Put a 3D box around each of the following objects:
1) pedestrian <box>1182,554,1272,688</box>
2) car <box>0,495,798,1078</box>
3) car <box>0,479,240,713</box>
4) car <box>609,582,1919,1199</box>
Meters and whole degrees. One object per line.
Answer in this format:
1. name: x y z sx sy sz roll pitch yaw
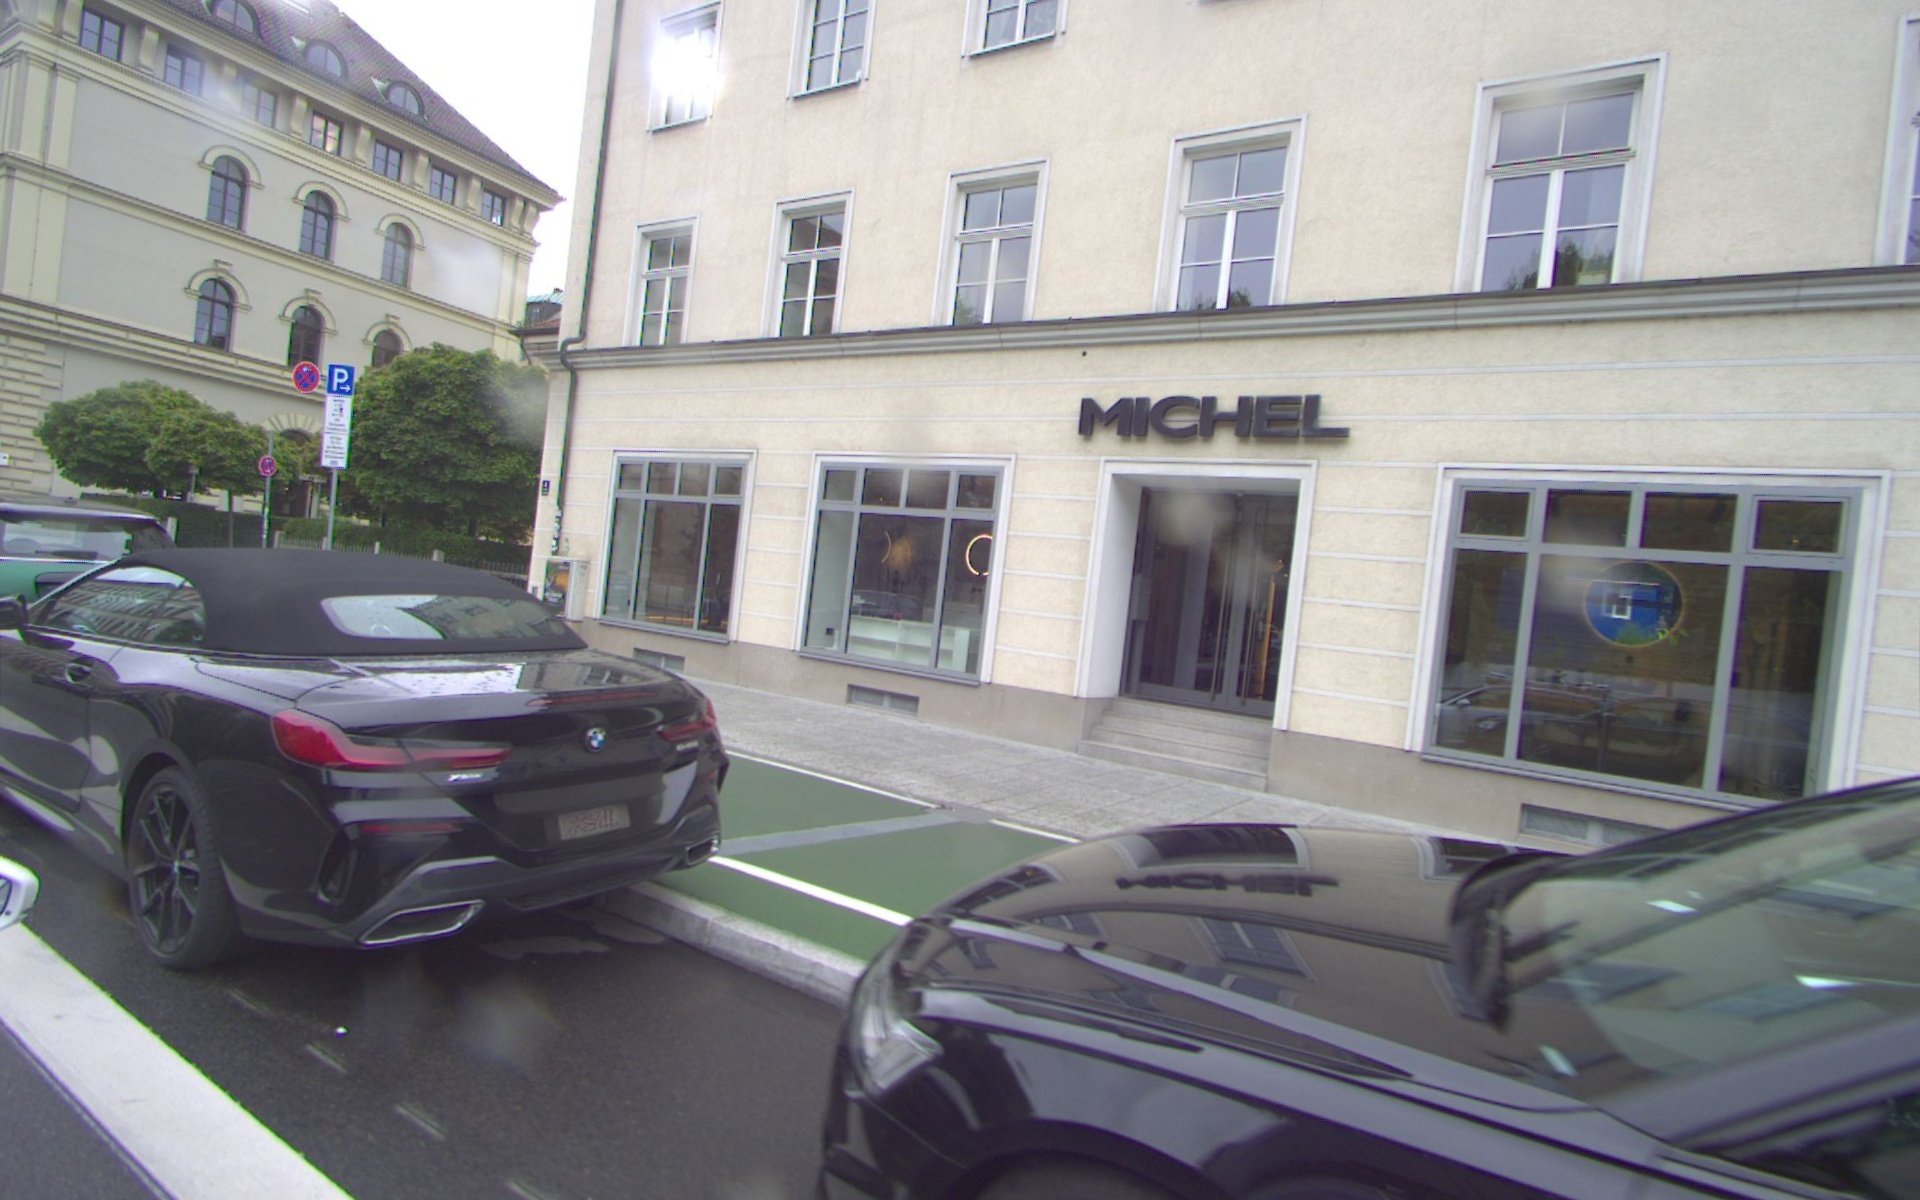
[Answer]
1. pedestrian: 3.654 0.298 13.751 0.768 1.710 0.859 7 1 34
2. car: -3.167 0.411 4.699 4.644 1.424 1.828 7 -1 34
3. car: -7.643 -0.161 8.095 3.768 1.539 1.677 7 -1 34
4. car: 1.685 0.942 1.550 4.387 1.501 1.808 7 4 31
